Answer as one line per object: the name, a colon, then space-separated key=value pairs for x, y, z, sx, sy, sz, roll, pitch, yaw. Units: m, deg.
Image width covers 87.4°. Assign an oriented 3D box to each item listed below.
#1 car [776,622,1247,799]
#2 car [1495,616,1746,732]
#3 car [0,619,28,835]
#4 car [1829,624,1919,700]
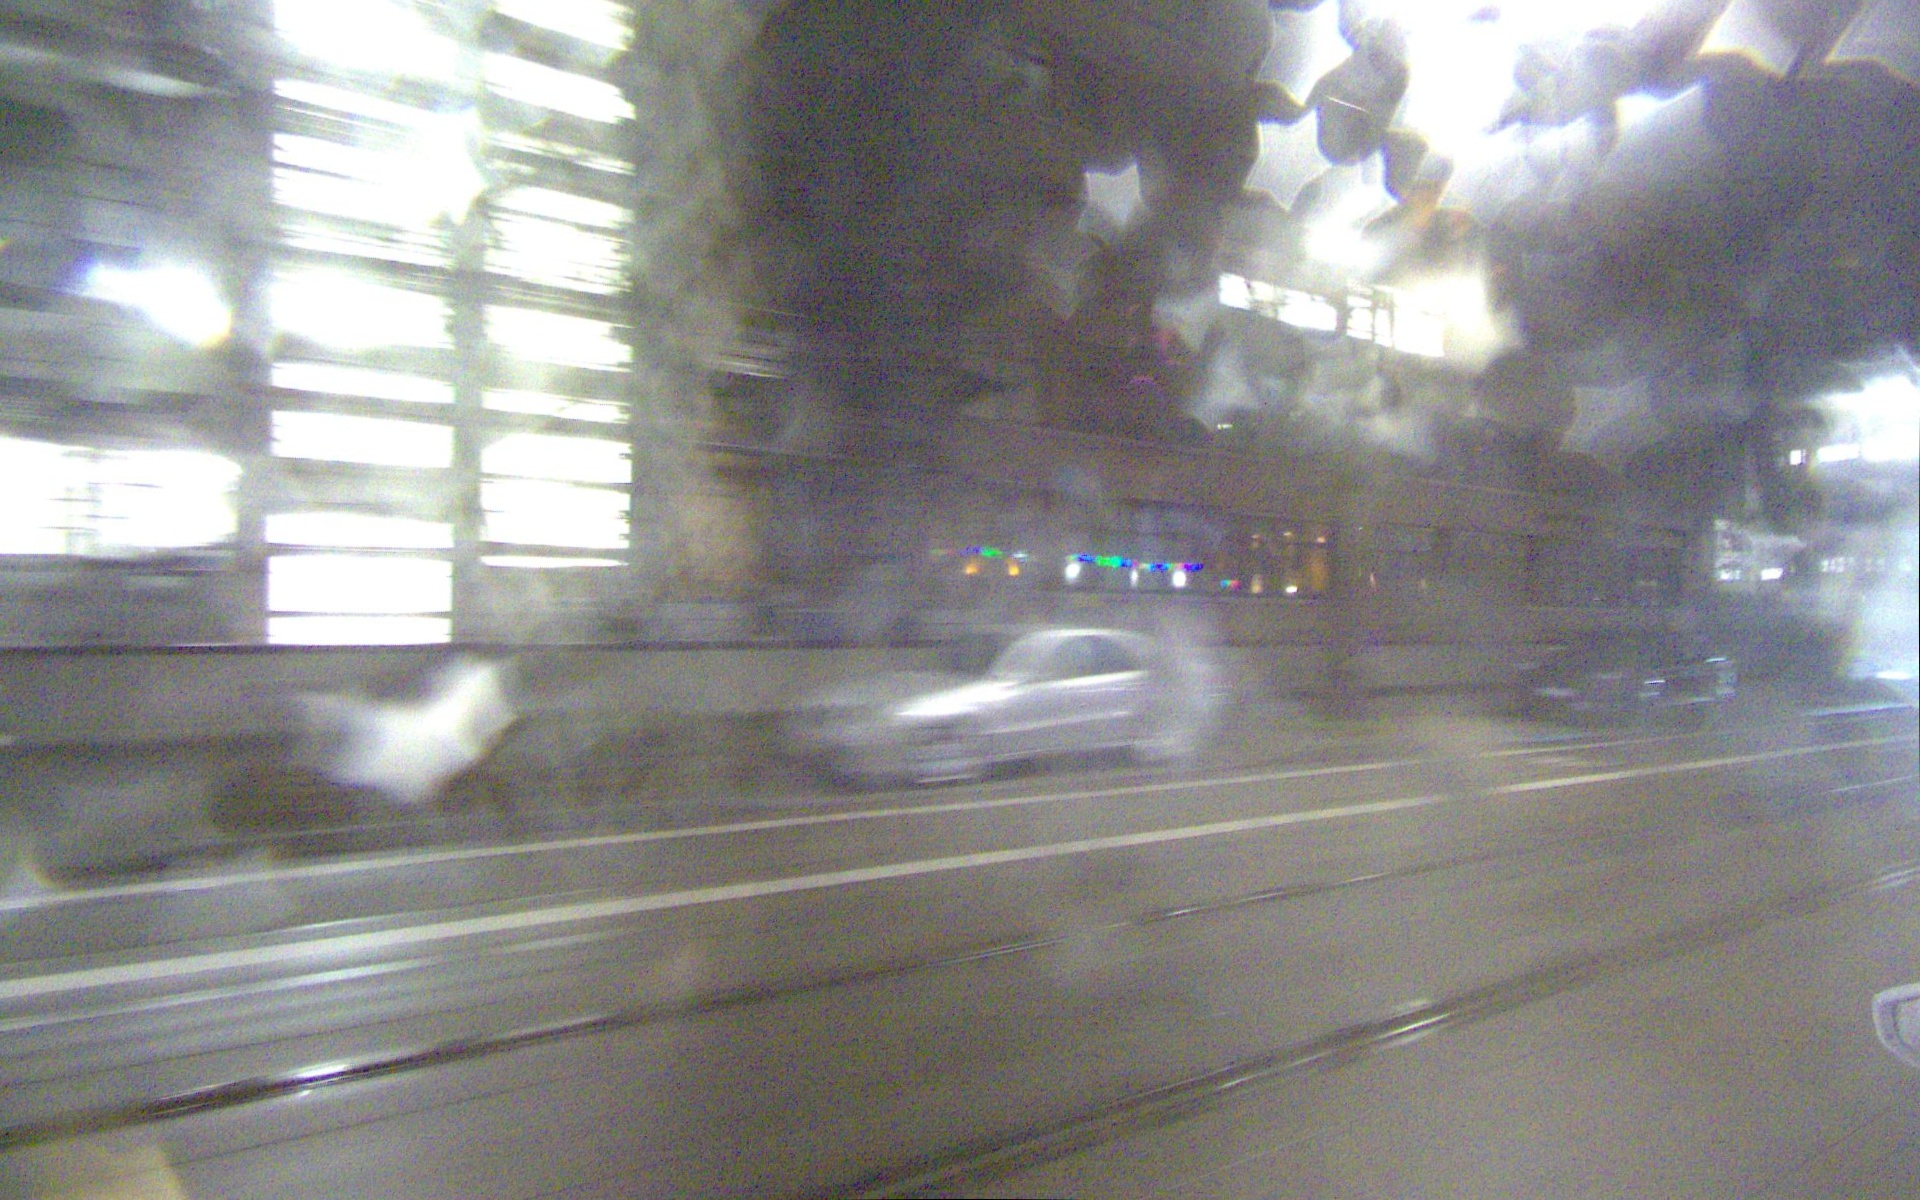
car: x=0.701 y=1.006 z=10.676 sx=4.911 sy=1.482 sz=1.875 roll=2 pitch=-2 yaw=-35
car: x=10.976 y=1.143 z=16.616 sx=4.353 sy=1.566 sz=1.868 roll=2 pitch=2 yaw=-34
car: x=-7.968 y=0.795 z=5.311 sx=4.165 sy=1.442 sz=1.829 roll=2 pitch=-2 yaw=-34
car: x=22.658 y=1.430 z=23.698 sx=4.465 sy=1.653 sz=1.973 roll=2 pitch=-1 yaw=-31
